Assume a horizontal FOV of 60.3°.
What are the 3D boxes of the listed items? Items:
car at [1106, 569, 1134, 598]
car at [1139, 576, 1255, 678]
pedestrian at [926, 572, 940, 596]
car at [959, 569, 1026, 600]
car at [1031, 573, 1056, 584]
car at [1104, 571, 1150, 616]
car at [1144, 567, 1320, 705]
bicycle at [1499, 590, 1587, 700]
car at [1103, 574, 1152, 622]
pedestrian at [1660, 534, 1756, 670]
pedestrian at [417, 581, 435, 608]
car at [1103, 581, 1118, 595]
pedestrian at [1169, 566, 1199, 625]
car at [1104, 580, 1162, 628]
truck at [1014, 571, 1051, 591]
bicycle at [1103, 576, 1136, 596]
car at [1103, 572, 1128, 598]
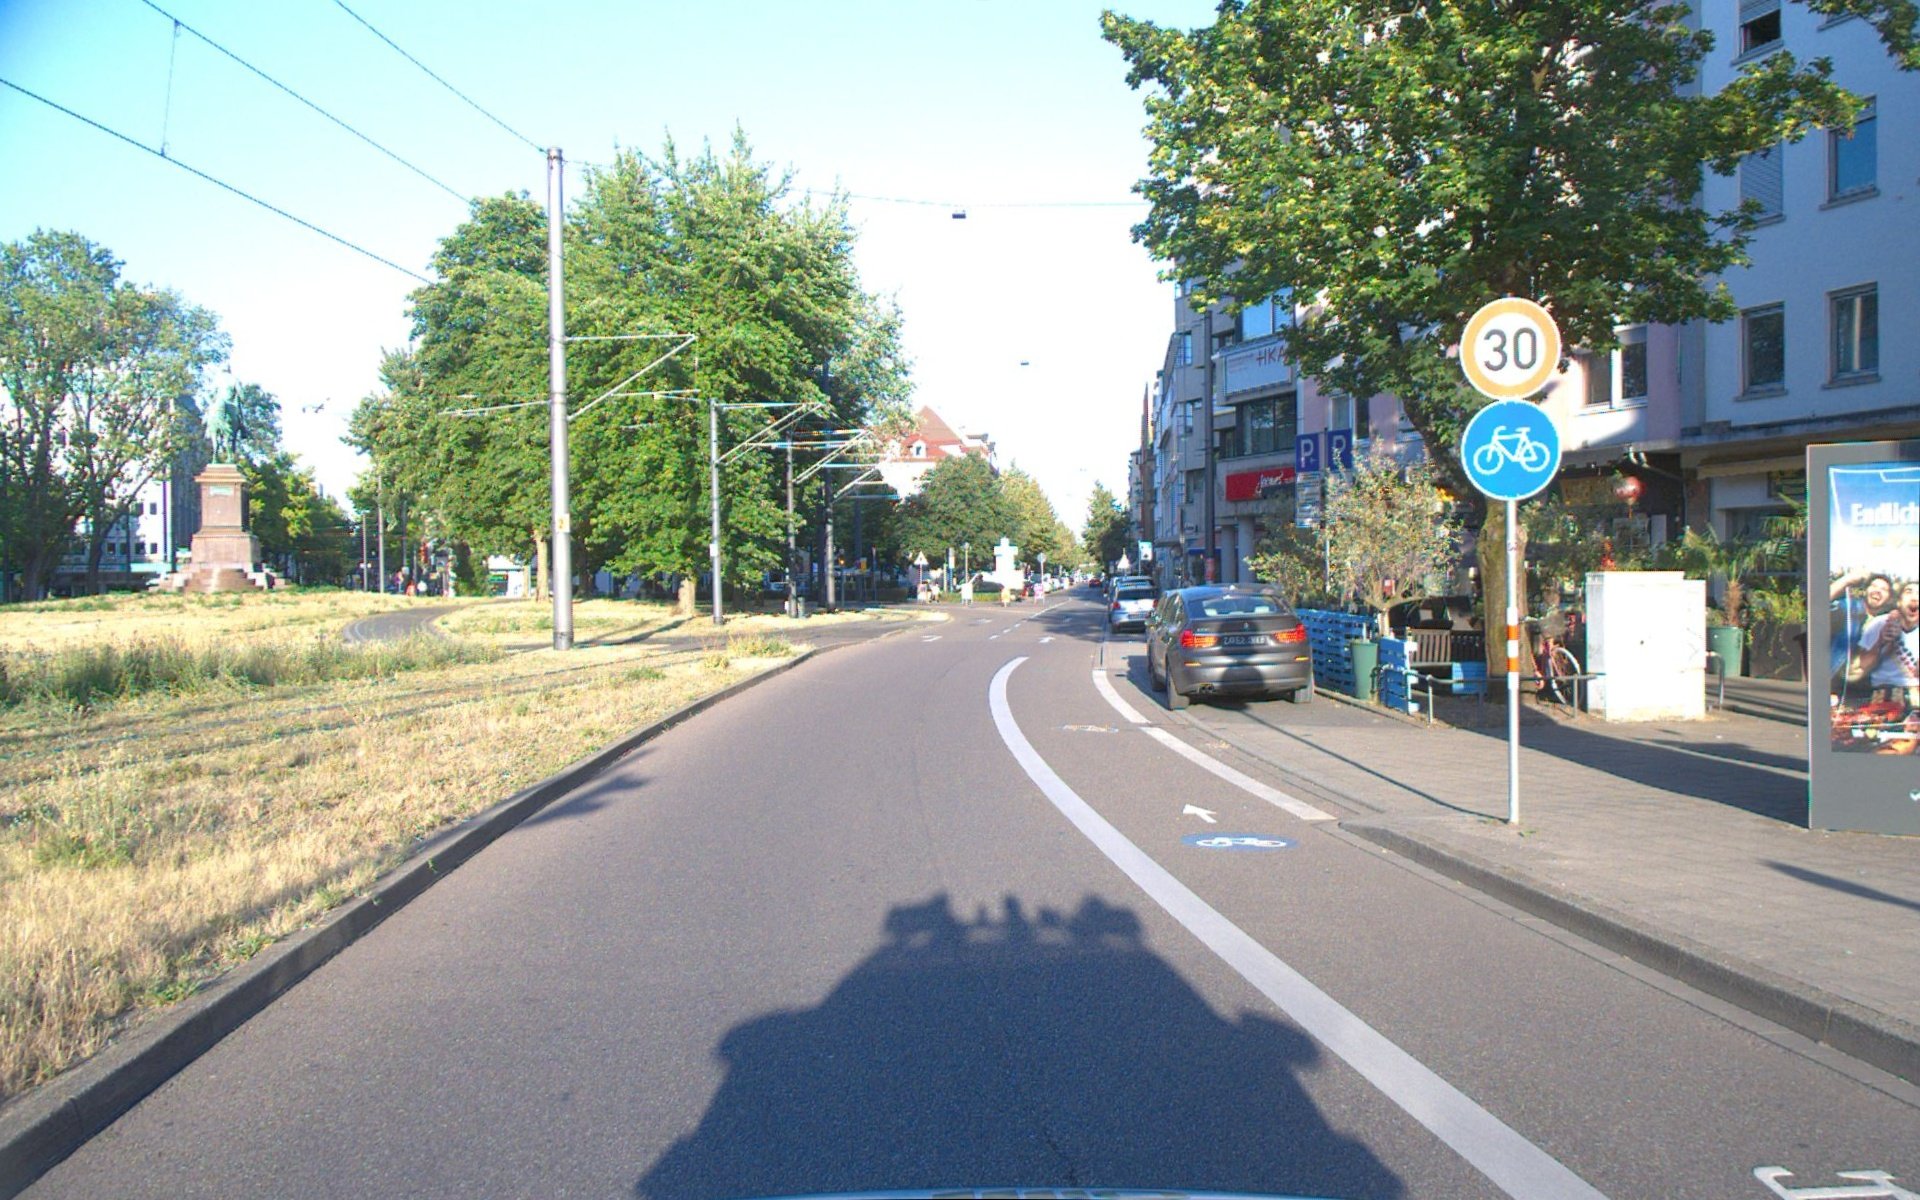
[{"bbox_3d":[10.248,-1.071,106.162,1.755,1.823,4.094,-1,0,5],"label":"car"},{"bbox_3d":[3.940,0.395,27.971,1.616,1.561,4.069,0,1,4],"label":"car"},{"bbox_3d":[-1.797,-1.046,110.577,0.683,1.586,0.694,1,1,25],"label":"pedestrian"},{"bbox_3d":[2.447,-1.160,124.212,4.534,2.290,2.189,0,0,-22],"label":"car"},{"bbox_3d":[12.809,-3.297,253.170,3.661,1.519,2.001,-1,1,4],"label":"car"},{"bbox_3d":[7.025,-0.295,69.892,1.746,1.836,4.404,0,1,3],"label":"car"},{"bbox_3d":[3.626,0.394,22.870,1.767,1.699,4.814,0,1,2],"label":"car"},{"bbox_3d":[6.990,0.503,19.908,0.437,1.231,2.084,0,1,3],"label":"bicycle"},{"bbox_3d":[5.897,-0.109,58.406,1.551,1.618,3.670,0,1,3],"label":"car"},{"bbox_3d":[9.932,0.012,21.967,0.880,1.756,0.768,-2,2,-26],"label":"pedestrian"},{"bbox_3d":[-37.685,-0.415,116.706,0.843,1.871,0.997,0,3,5],"label":"pedestrian"},{"bbox_3d":[17.911,-1.415,197.107,1.544,1.569,3.398,-3,0,2],"label":"car"},{"bbox_3d":[7.039,-0.153,51.941,0.629,1.817,0.852,0,1,-18],"label":"pedestrian"},{"bbox_3d":[5.575,0.100,53.188,1.747,1.481,4.003,-1,0,6],"label":"car"},{"bbox_3d":[9.738,-2.533,220.697,4.837,2.660,2.001,-1,0,4],"label":"truck"},{"bbox_3d":[9.061,-0.789,93.821,1.753,1.007,0.541,-3,2,28],"label":"bicycle"},{"bbox_3d":[10.519,-1.029,111.852,1.622,1.694,4.110,0,1,4],"label":"car"}]
